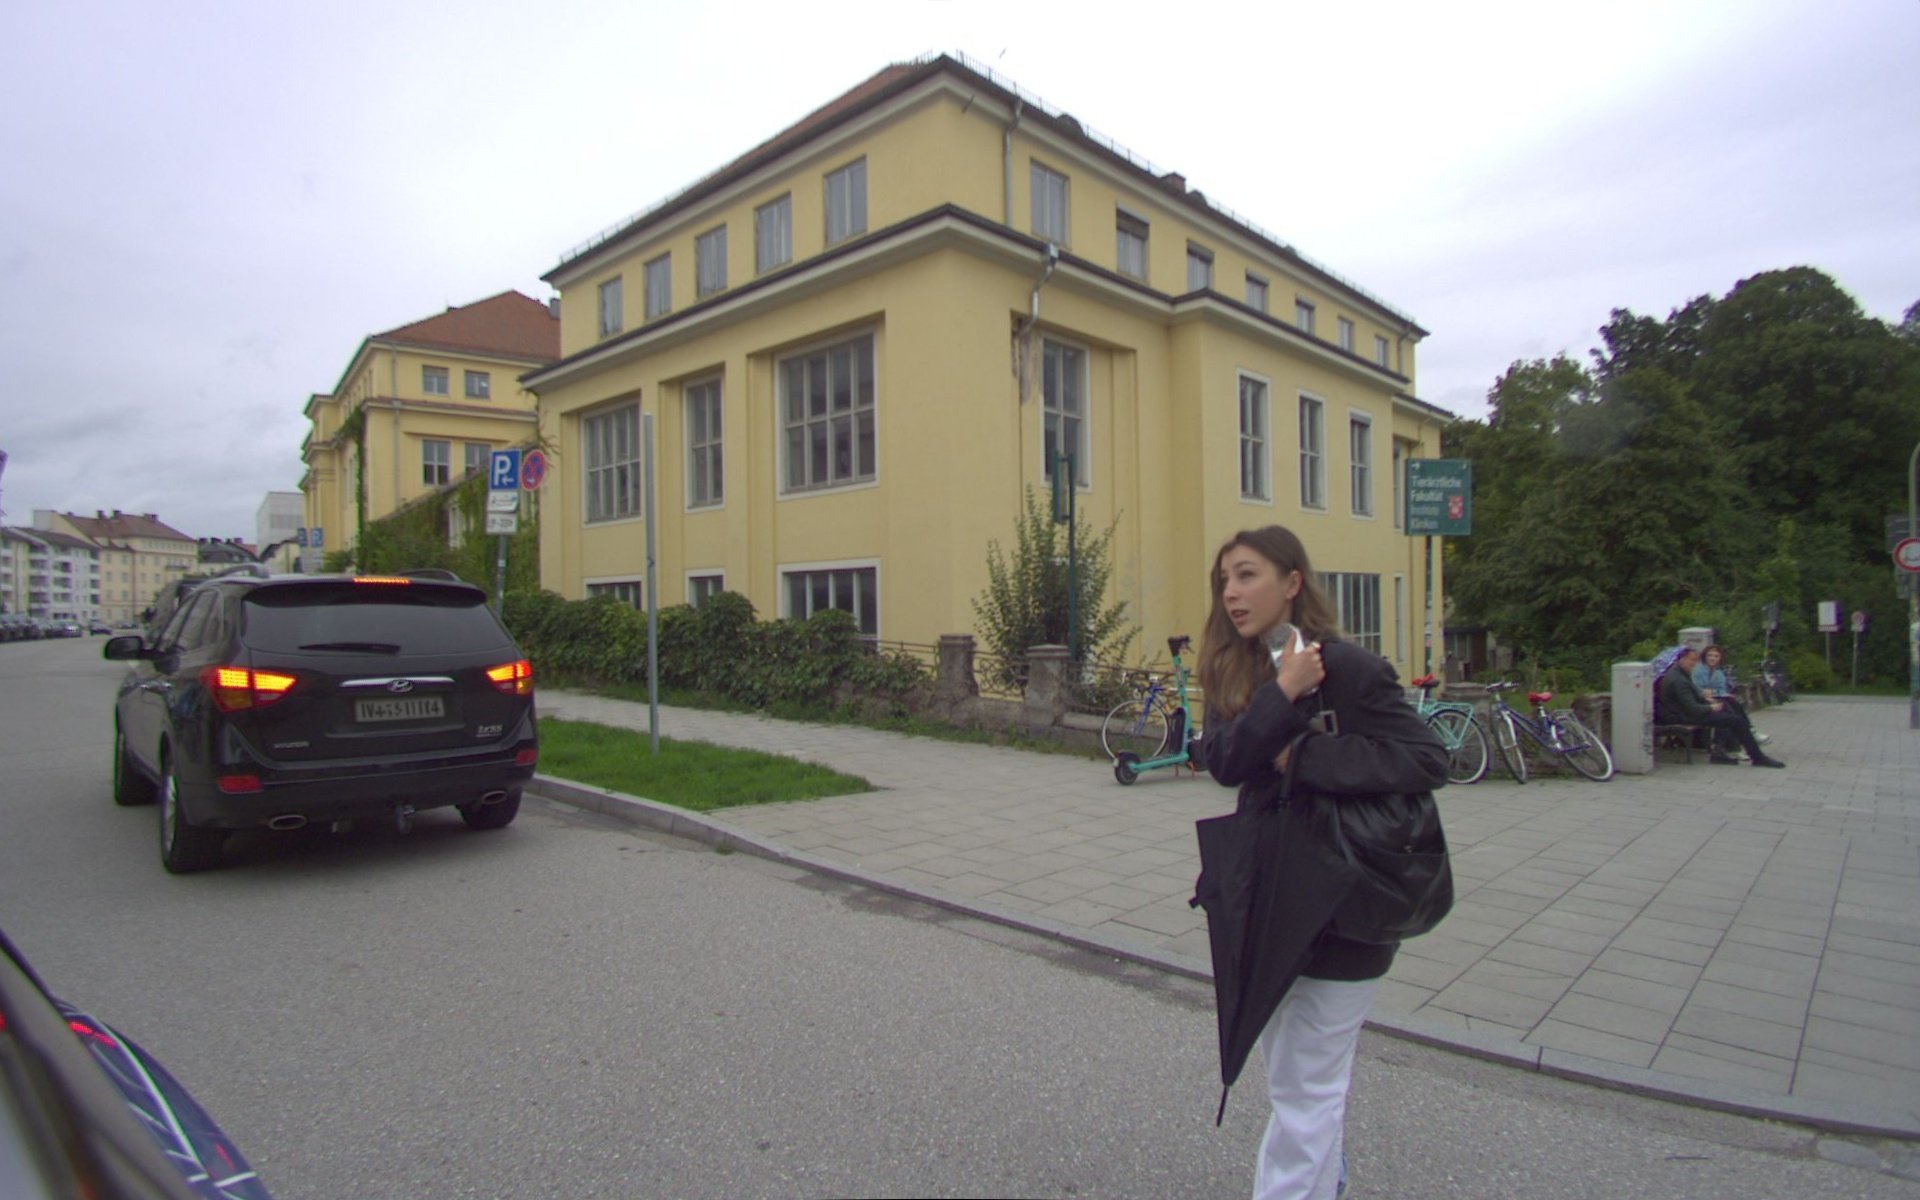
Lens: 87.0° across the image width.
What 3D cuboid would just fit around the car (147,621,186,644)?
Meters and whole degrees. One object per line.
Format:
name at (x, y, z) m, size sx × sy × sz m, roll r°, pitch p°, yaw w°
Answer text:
car at (-91.517, 3.761, 116.684) m, size 2.806 × 2.571 × 6.898 m, roll 1°, pitch -2°, yaw -44°

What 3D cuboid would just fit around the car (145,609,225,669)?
car at (-23.021, 1.152, 29.998) m, size 1.680 × 1.619 × 4.499 m, roll 4°, pitch -4°, yaw -39°

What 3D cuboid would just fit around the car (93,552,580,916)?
car at (-4.653, 0.700, 7.183) m, size 1.970 × 1.732 × 4.618 m, roll 0°, pitch -2°, yaw -45°

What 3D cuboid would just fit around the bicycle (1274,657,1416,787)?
bicycle at (3.448, 1.082, 9.089) m, size 1.173 × 1.119 × 0.301 m, roll 0°, pitch 0°, yaw -5°

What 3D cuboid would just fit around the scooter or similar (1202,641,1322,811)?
scooter or similar at (2.398, 0.965, 8.138) m, size 0.432 × 1.221 × 1.056 m, roll 0°, pitch 0°, yaw -14°

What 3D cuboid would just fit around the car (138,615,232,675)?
car at (-20.057, 1.167, 26.133) m, size 1.685 × 1.376 × 4.008 m, roll 5°, pitch -5°, yaw -40°

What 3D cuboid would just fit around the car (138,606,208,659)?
car at (-29.904, 1.239, 38.487) m, size 1.868 × 1.812 × 4.890 m, roll 5°, pitch -5°, yaw -37°

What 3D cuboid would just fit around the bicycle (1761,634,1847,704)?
bicycle at (21.941, 1.746, 26.384) m, size 1.048 × 1.674 × 3.122 m, roll -2°, pitch -1°, yaw 28°

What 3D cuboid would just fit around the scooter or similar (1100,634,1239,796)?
scooter or similar at (1.785, 0.932, 8.557) m, size 1.243 × 1.253 × 0.395 m, roll 0°, pitch 0°, yaw -35°

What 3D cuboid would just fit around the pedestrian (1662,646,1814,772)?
pedestrian at (8.571, 1.160, 11.191) m, size 1.264 × 1.278 × 0.840 m, roll -2°, pitch -2°, yaw 38°

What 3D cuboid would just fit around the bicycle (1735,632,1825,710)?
bicycle at (19.484, 1.627, 24.145) m, size 1.048 × 1.674 × 3.122 m, roll -2°, pitch -1°, yaw 28°

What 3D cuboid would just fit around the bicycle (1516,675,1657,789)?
bicycle at (5.903, 1.223, 9.533) m, size 1.254 × 0.985 × 0.416 m, roll 0°, pitch -2°, yaw -20°

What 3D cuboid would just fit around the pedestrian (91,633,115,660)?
pedestrian at (-95.252, 5.114, 112.449) m, size 1.900 × 2.973 × 2.029 m, roll 1°, pitch -3°, yaw -38°

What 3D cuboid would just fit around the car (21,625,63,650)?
car at (-63.356, 2.555, 69.887) m, size 1.741 × 1.552 × 4.008 m, roll -4°, pitch 1°, yaw -37°

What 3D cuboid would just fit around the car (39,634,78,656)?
car at (-67.168, 3.335, 75.467) m, size 1.698 × 1.477 × 4.202 m, roll -3°, pitch 0°, yaw -36°

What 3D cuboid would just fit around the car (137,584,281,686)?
car at (-16.406, 0.790, 22.015) m, size 1.902 × 1.994 × 4.627 m, roll 4°, pitch -4°, yaw -43°

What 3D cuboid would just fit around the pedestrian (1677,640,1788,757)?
pedestrian at (9.570, 1.186, 12.563) m, size 1.031 × 1.345 × 0.943 m, roll -2°, pitch -2°, yaw 38°

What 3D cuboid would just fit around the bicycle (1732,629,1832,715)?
bicycle at (17.586, 1.482, 21.739) m, size 1.047 × 1.674 × 2.975 m, roll -2°, pitch -1°, yaw 28°

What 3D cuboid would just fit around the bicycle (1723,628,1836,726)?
bicycle at (15.719, 1.411, 19.527) m, size 1.047 × 1.674 × 3.122 m, roll -2°, pitch -1°, yaw 28°

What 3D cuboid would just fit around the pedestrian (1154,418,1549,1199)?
pedestrian at (0.816, 0.560, 2.097) m, size 0.664 × 1.710 × 0.538 m, roll -1°, pitch -3°, yaw 32°

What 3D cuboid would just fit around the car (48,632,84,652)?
car at (-77.849, 3.673, 88.129) m, size 1.970 × 1.584 × 4.500 m, roll -3°, pitch 0°, yaw -38°

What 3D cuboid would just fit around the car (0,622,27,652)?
car at (-48.707, 1.909, 51.196) m, size 1.849 × 1.458 × 4.708 m, roll -2°, pitch 0°, yaw -39°

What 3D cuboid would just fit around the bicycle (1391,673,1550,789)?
bicycle at (4.619, 1.172, 9.180) m, size 1.255 × 0.985 × 0.415 m, roll 0°, pitch -2°, yaw -9°

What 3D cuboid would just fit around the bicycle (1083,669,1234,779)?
bicycle at (1.856, 1.139, 9.506) m, size 1.323 × 0.900 × 0.431 m, roll 1°, pitch 0°, yaw 26°
